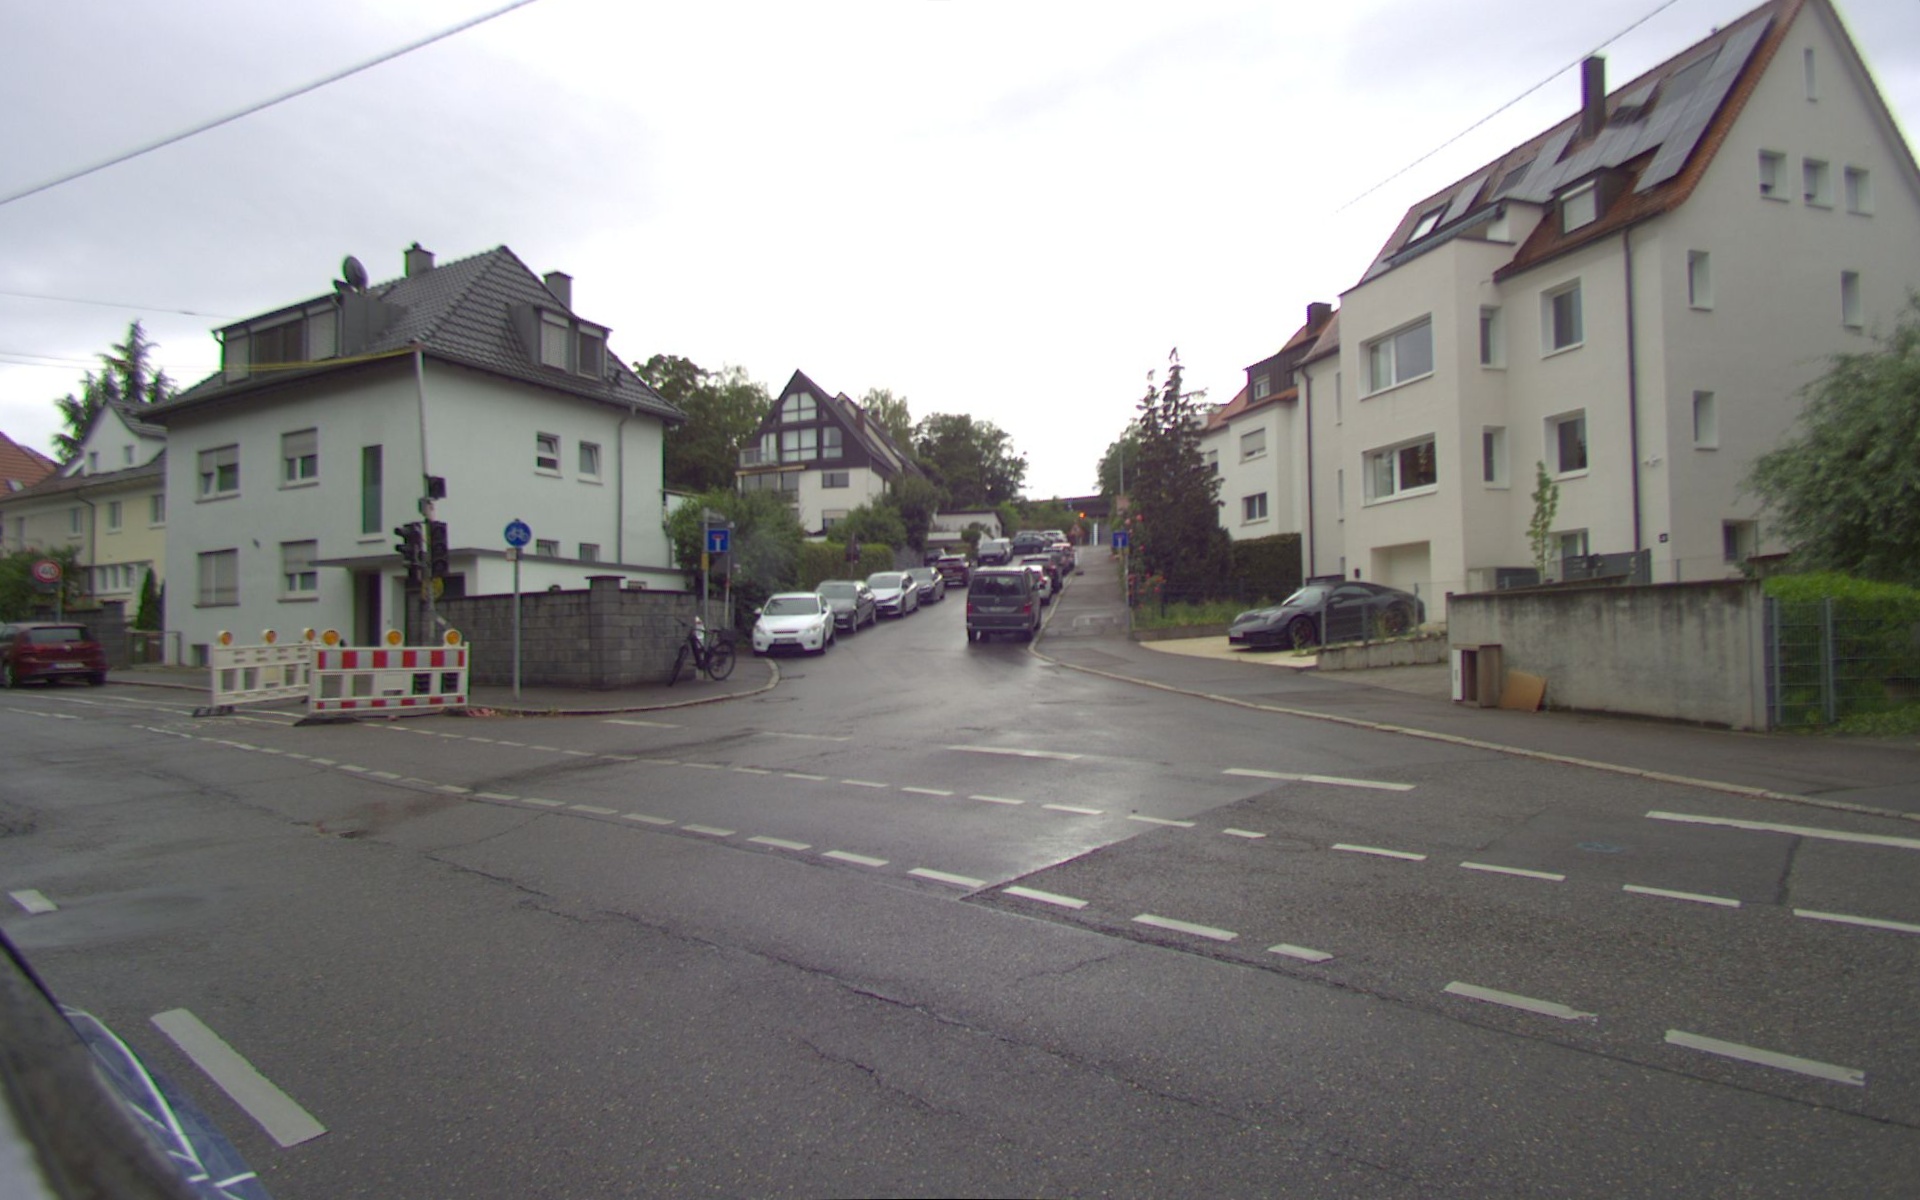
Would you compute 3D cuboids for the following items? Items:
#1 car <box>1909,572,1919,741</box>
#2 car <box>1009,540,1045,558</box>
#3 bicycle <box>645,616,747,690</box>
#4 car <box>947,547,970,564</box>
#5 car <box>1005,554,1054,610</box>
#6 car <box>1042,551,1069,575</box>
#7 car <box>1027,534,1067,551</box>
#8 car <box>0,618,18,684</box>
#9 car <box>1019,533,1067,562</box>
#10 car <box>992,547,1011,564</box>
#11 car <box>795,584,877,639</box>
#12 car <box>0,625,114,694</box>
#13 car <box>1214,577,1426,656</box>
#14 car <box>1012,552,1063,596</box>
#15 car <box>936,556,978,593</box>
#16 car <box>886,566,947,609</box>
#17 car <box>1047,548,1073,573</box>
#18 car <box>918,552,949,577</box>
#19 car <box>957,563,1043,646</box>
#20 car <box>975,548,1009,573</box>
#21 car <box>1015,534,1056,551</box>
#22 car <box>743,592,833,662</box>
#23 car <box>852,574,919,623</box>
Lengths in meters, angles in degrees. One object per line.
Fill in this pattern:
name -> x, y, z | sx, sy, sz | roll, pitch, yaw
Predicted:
car -> 10.607, 0.418, 8.541 | 3.934, 1.497, 1.780 | -2, -1, -12
car -> 5.555, -4.196, 83.647 | 2.914, 1.328, 1.282 | -1, 0, 4
bicycle -> -4.783, 0.930, 18.449 | 0.508, 1.249, 1.984 | 1, 0, 32
car -> -0.080, -3.257, 74.014 | 1.559, 1.220, 3.650 | -1, 3, 2
car -> 2.822, -0.755, 40.316 | 1.686, 1.843, 4.194 | -1, 6, 7
car -> 5.505, -2.143, 58.104 | 1.274, 1.325, 2.984 | -1, 3, 10
car -> 8.940, -5.896, 103.907 | 3.782, 1.529, 1.664 | -1, -1, 15
car -> -26.151, 1.319, 25.766 | 4.131, 1.653, 1.782 | -1, -1, 25
car -> 7.204, -4.560, 87.636 | 3.954, 2.028, 1.995 | -5, -1, 8
car -> 3.060, -3.324, 74.703 | 1.292, 1.206, 2.980 | -1, 3, 5
car -> -3.825, 0.319, 31.810 | 1.702, 1.397, 3.900 | -1, 4, 6
car -> -21.466, 1.335, 23.374 | 3.833, 1.443, 1.768 | -1, -1, 30
car -> 7.709, 0.331, 21.764 | 3.942, 1.290, 1.613 | -5, 1, -13
car -> 3.523, -1.193, 45.369 | 1.823, 1.699, 4.039 | -1, 5, 11
car -> -0.112, -1.362, 52.457 | 1.623, 1.637, 3.992 | -1, 5, 8
car -> -1.804, -0.553, 42.952 | 1.903, 1.448, 4.100 | -1, 5, 7
car -> 6.239, -2.447, 62.841 | 1.488, 1.373, 3.465 | -1, 0, 8
car -> -1.825, -2.416, 69.786 | 1.793, 1.566, 4.009 | -1, 0, 3
car -> 1.245, 0.049, 29.317 | 1.978, 2.028, 4.482 | -1, 4, 9
car -> 2.198, -2.669, 68.878 | 1.770, 1.531, 4.016 | -1, 0, 9
car -> 7.392, -5.586, 98.781 | 3.922, 1.528, 1.748 | -1, 0, 6
car -> -4.351, 0.624, 26.148 | 1.827, 1.473, 4.124 | -1, 3, -3
car -> -2.655, -0.085, 37.079 | 1.738, 1.481, 3.940 | -1, 4, 6
